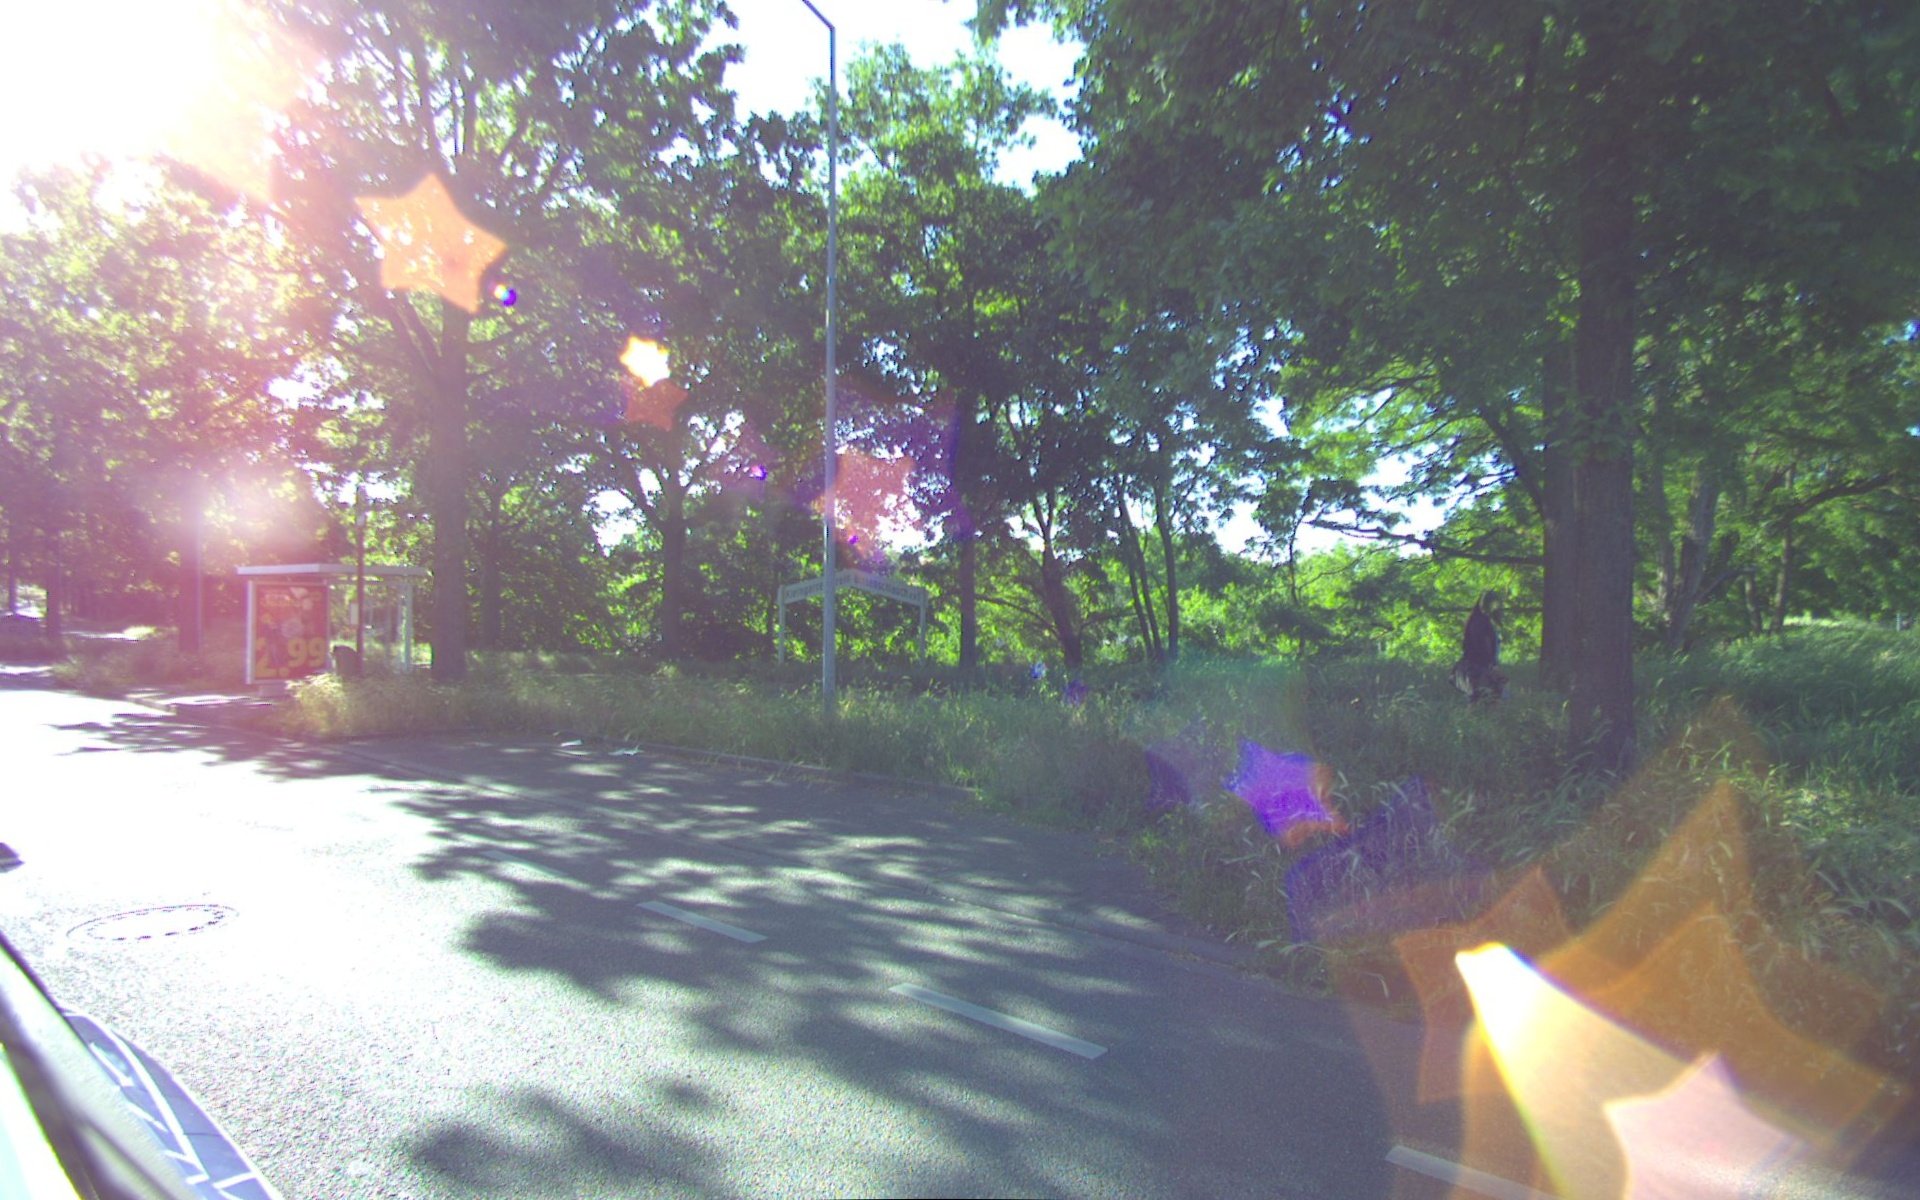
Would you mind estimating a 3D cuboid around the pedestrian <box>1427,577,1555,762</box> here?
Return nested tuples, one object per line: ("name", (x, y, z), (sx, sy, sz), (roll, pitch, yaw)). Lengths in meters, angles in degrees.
("pedestrian", (5.229, 0.647, 9.958), (0.891, 1.701, 0.903), (-2, -1, 42))
